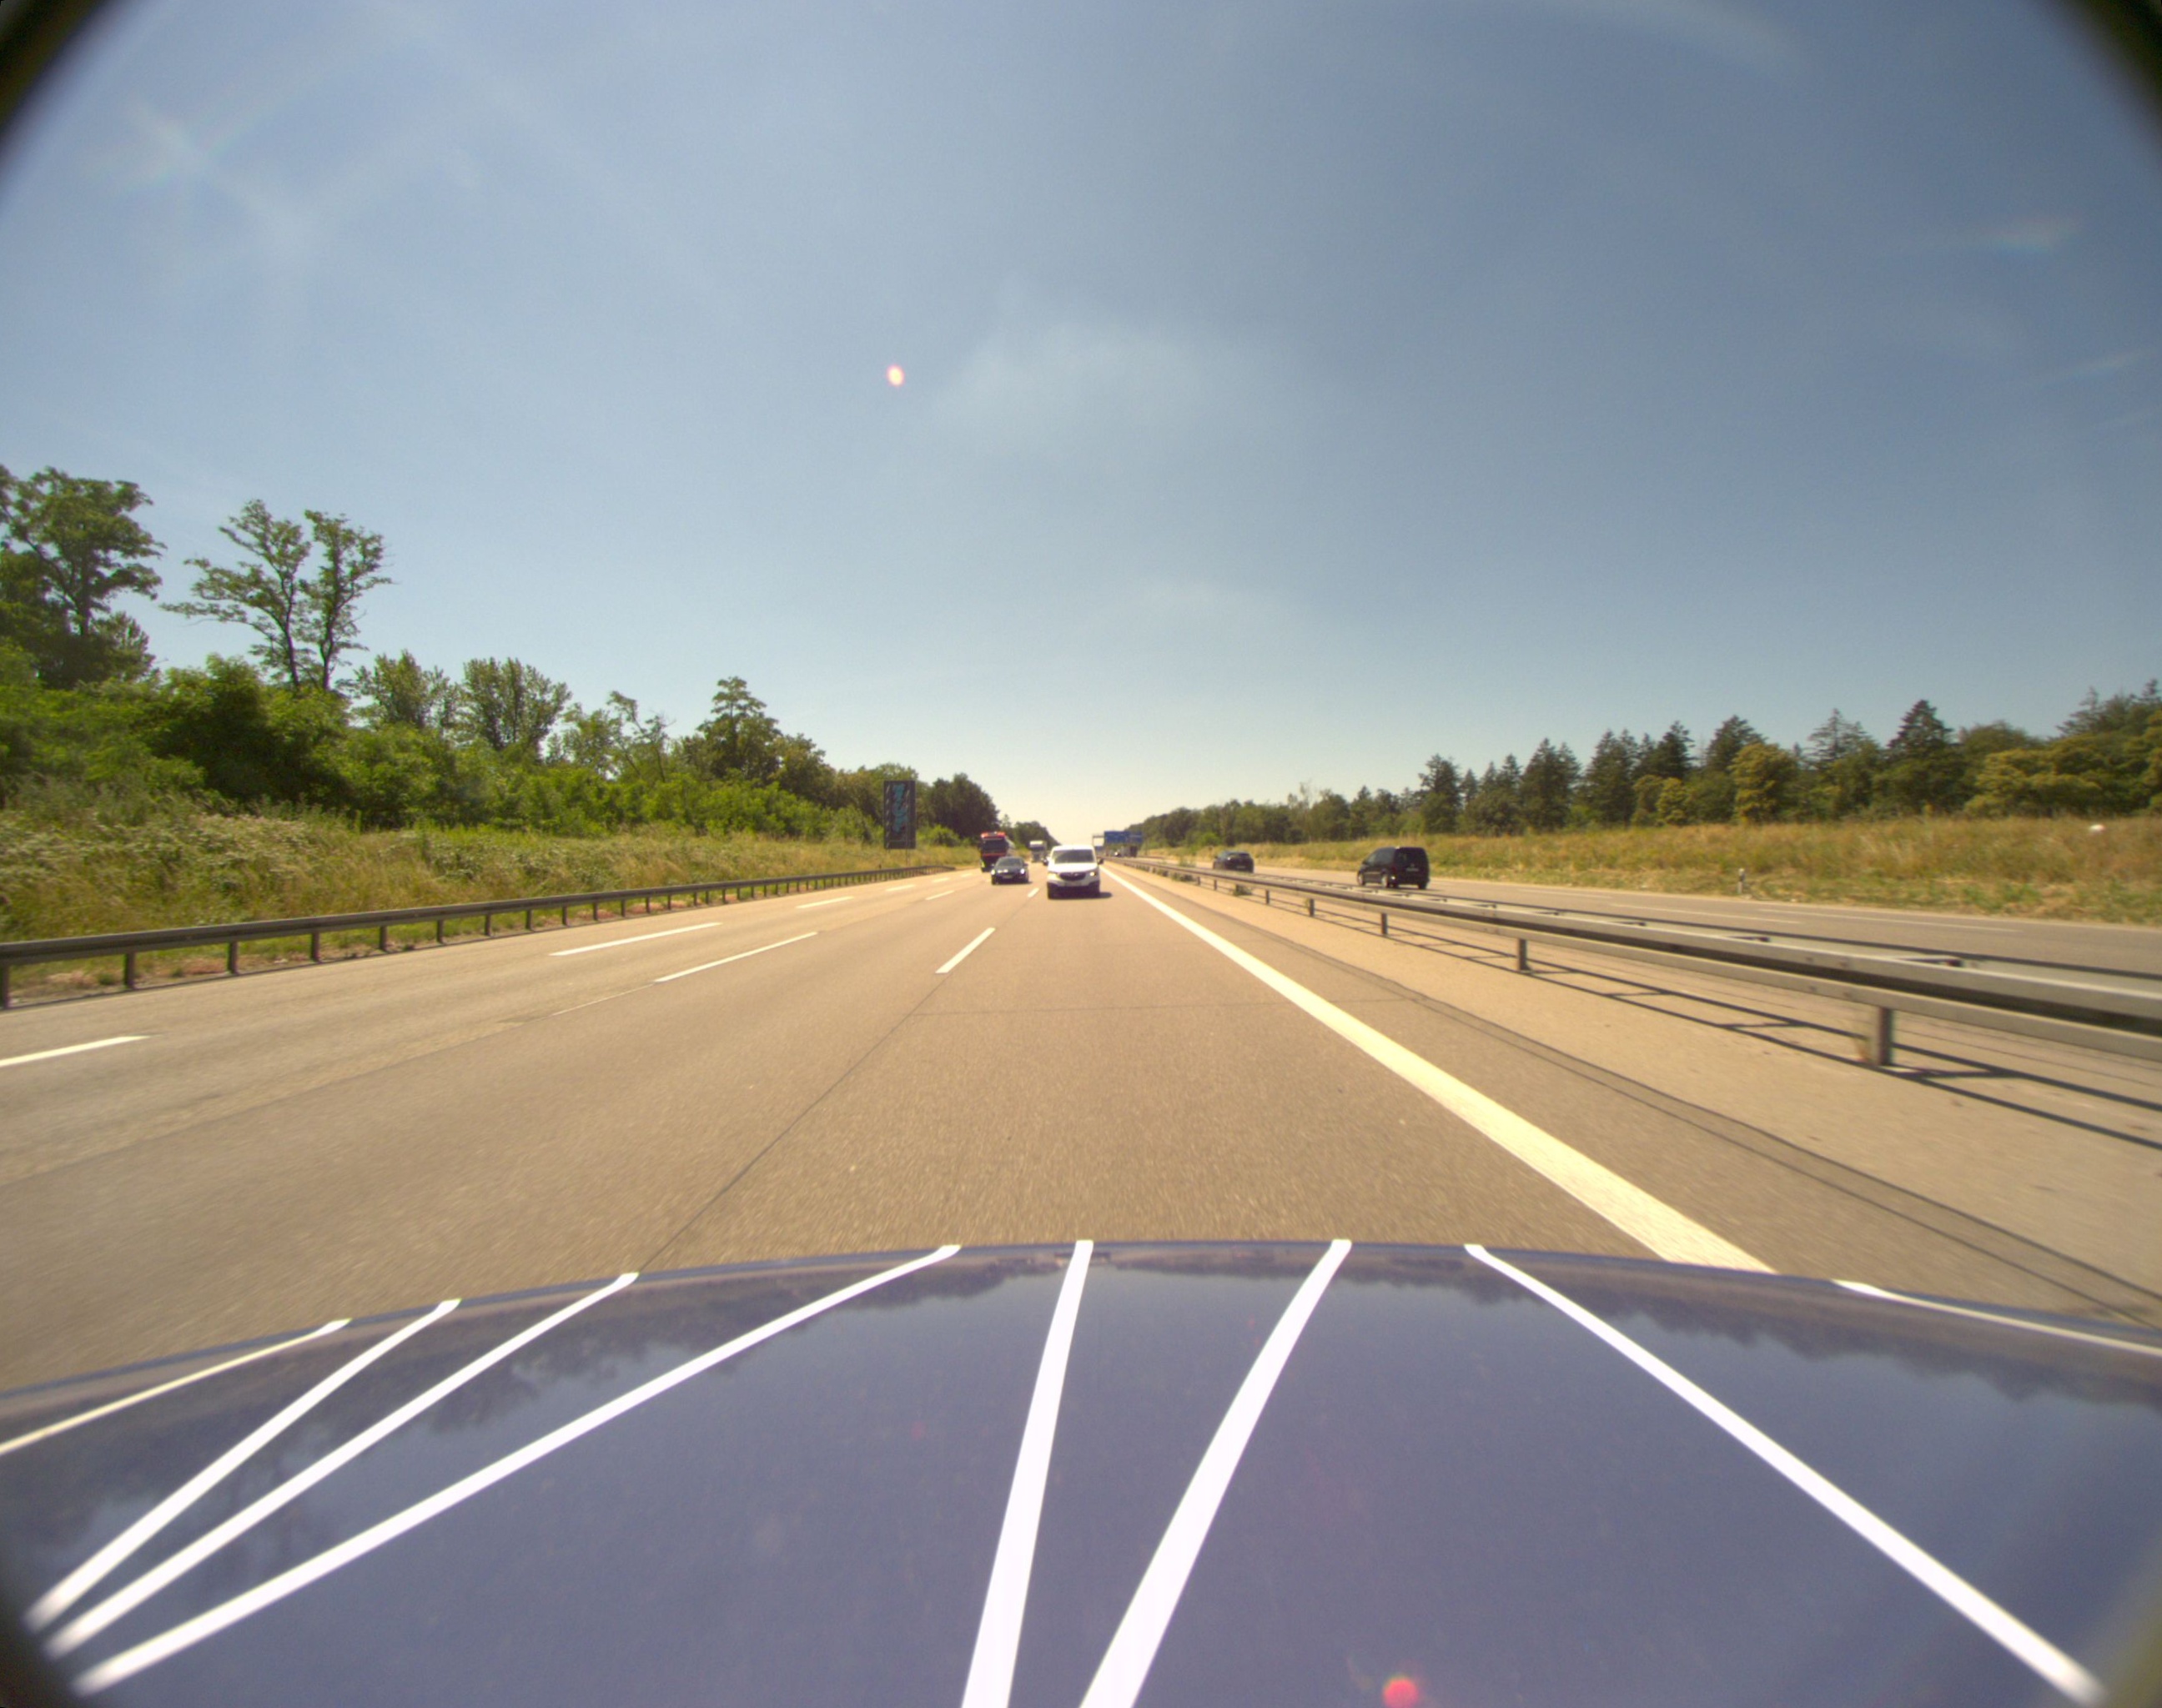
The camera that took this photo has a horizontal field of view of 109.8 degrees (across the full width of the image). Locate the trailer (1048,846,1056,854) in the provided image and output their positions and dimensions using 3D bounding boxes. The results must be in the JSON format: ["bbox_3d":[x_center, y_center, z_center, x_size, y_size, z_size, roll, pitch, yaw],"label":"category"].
[{"bbox_3d":[-7.737,-1.058,201.426,1.849,2.196,3.196,-2,0,0],"label":"trailer"}]

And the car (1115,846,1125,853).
[{"bbox_3d":[10.615,-1.147,207.303,2.370,1.884,5.224,1,0,0],"label":"car"}]

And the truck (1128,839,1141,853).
[{"bbox_3d":[17.942,-2.563,256.149,3.385,4.598,12.185,1,0,0],"label":"truck"}]

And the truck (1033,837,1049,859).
[{"bbox_3d":[-7.486,-1.179,143.664,2.603,3.980,6.173,-2,0,0],"label":"truck"}]

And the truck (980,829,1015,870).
[{"bbox_3d":[-8.053,-0.460,73.540,2.535,3.712,6.098,-2,0,0],"label":"truck"}]

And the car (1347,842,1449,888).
[{"bbox_3d":[13.779,0.428,33.448,2.233,1.801,5.298,1,0,0],"label":"car"}]

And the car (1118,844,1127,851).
[{"bbox_3d":[13.740,-2.161,250.229,2.370,2.434,7.132,1,0,0],"label":"car"}]

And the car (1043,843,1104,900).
[{"bbox_3d":[-0.160,0.558,27.256,1.870,1.807,4.941,-2,0,2],"label":"car"}]

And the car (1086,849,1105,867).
[{"bbox_3d":[1.250,0.324,66.636,1.581,1.412,3.352,-2,0,0],"label":"car"}]

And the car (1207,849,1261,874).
[{"bbox_3d":[9.360,0.423,46.844,2.233,1.415,5.298,1,0,0],"label":"car"}]

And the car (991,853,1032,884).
[{"bbox_3d":[-3.699,0.733,40.892,1.806,1.475,4.271,-2,0,-1],"label":"car"}]

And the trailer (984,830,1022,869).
[{"bbox_3d":[-8.033,-0.491,79.594,2.535,3.712,11.547,-2,0,0],"label":"trailer"}]

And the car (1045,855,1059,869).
[{"bbox_3d":[-4.446,1.217,116.346,1.998,2.002,3.999,-2,0,0],"label":"car"}]
